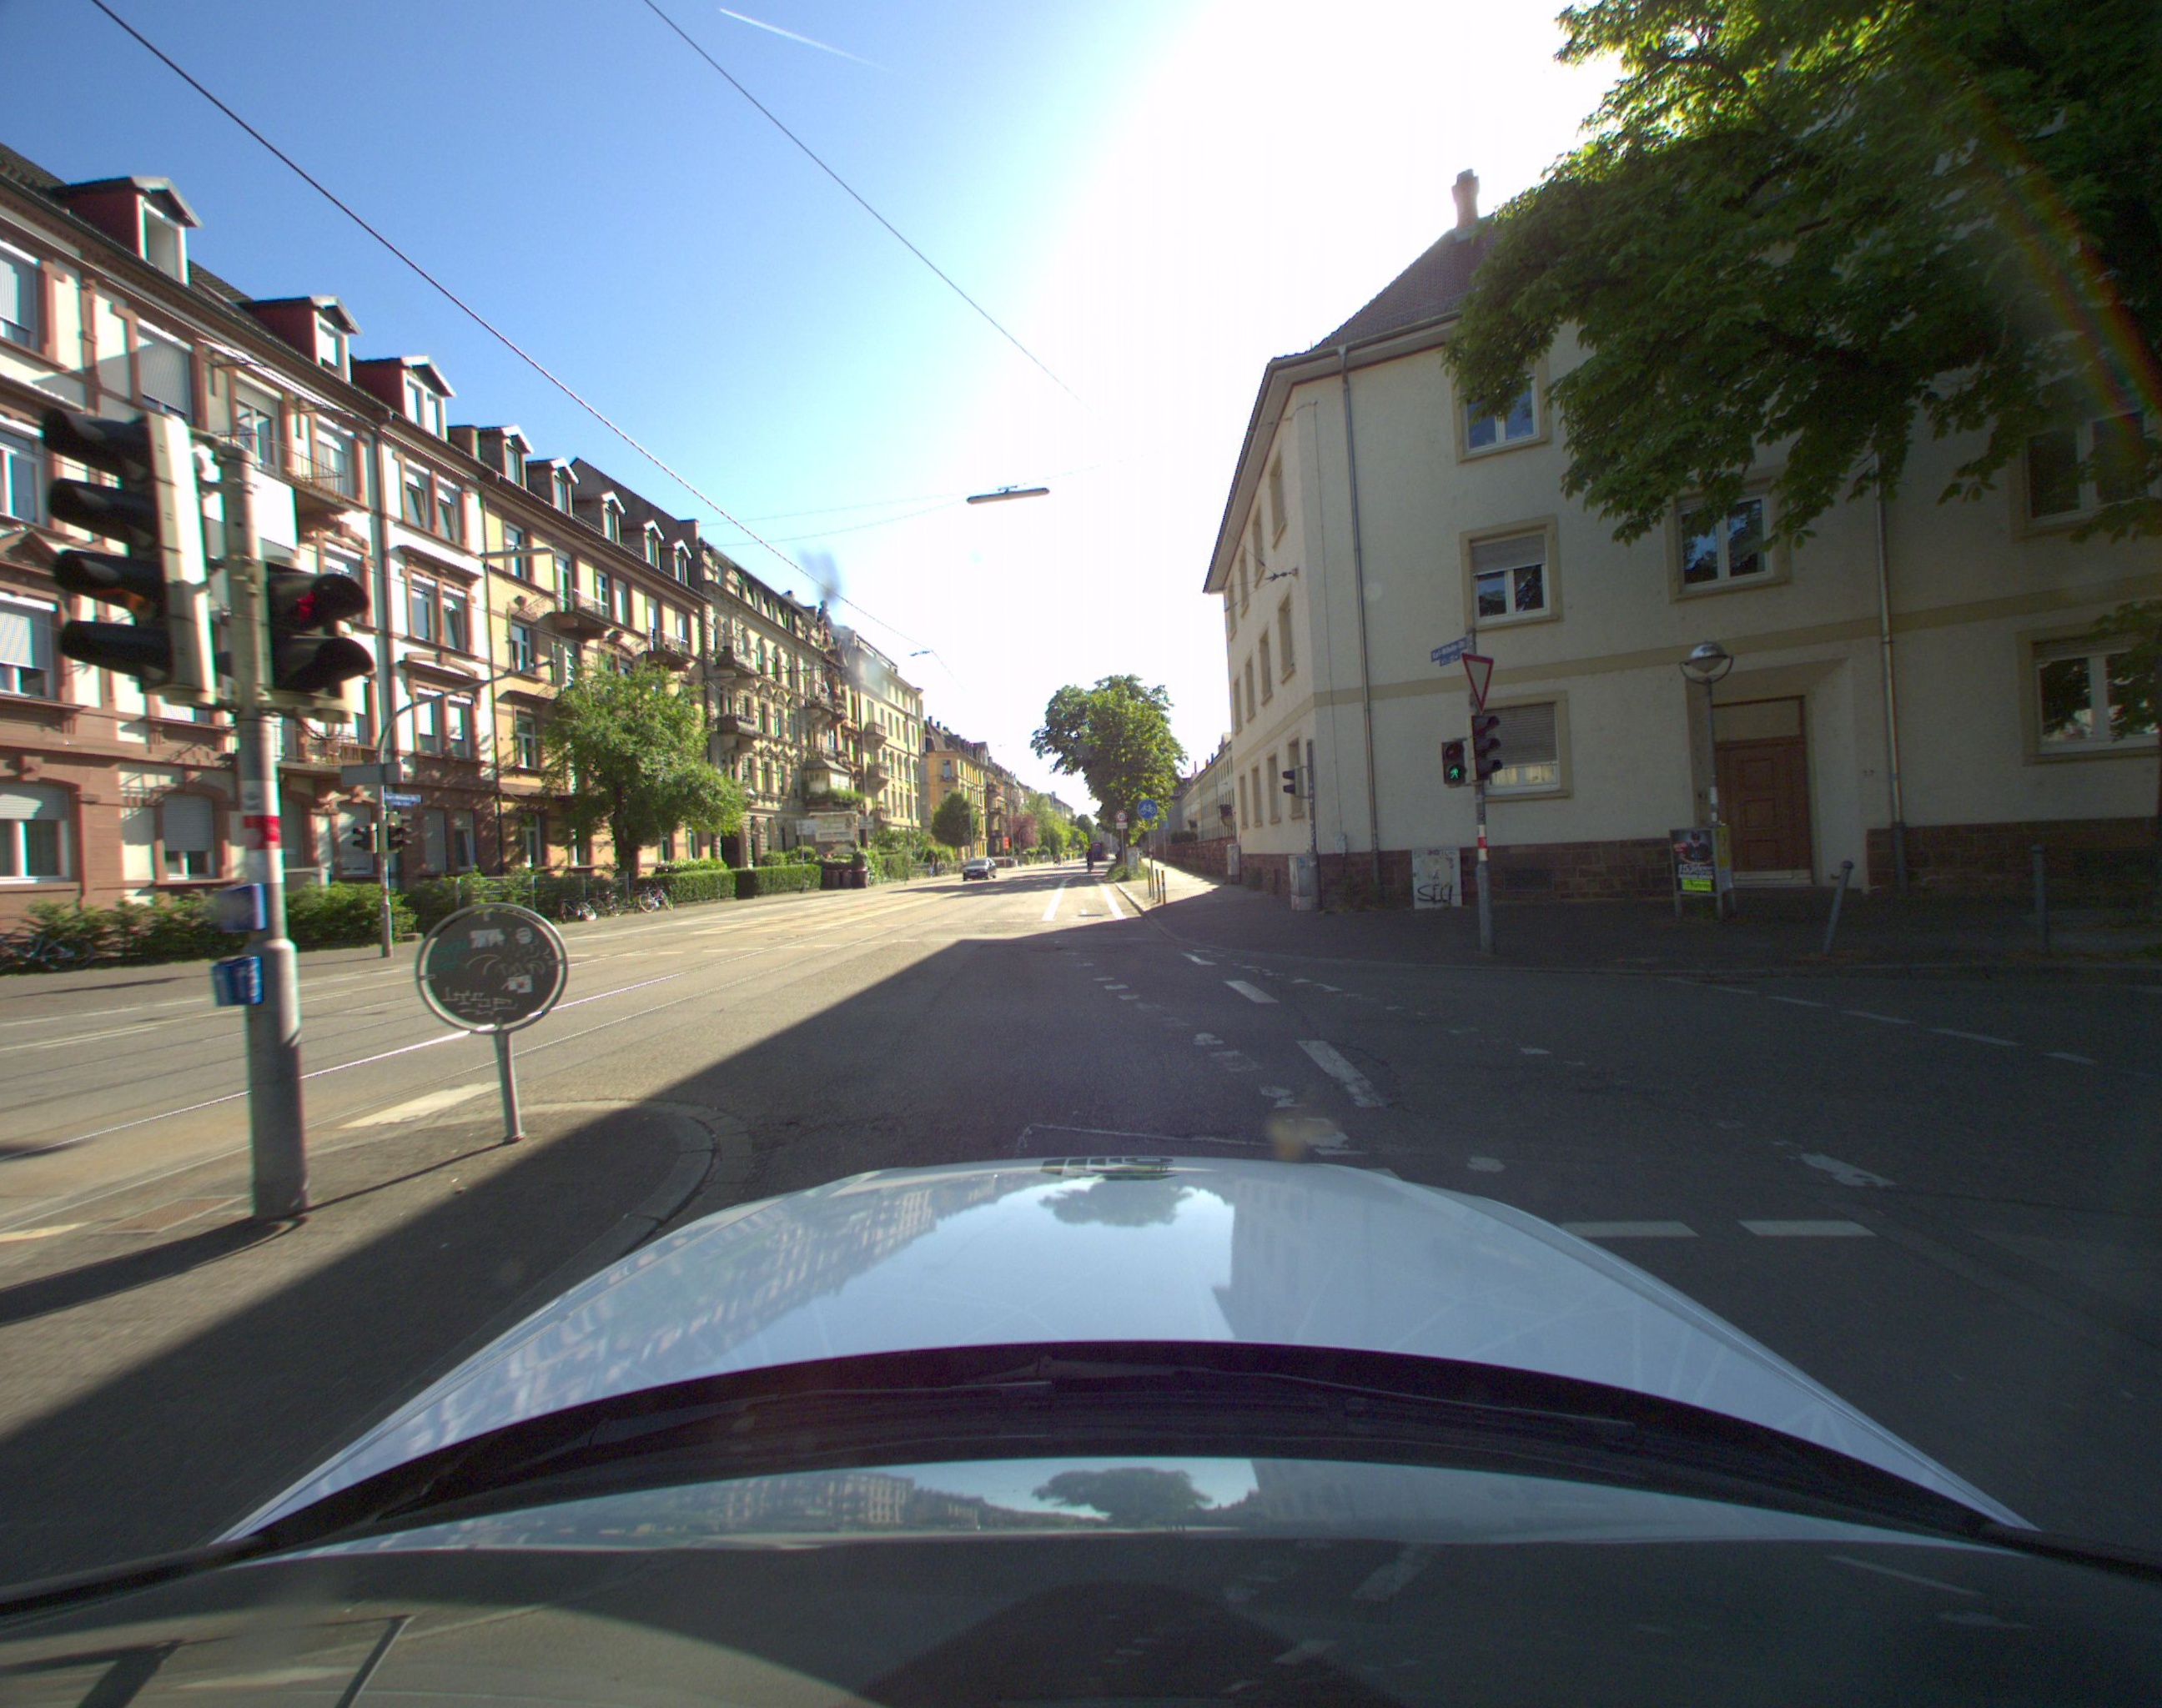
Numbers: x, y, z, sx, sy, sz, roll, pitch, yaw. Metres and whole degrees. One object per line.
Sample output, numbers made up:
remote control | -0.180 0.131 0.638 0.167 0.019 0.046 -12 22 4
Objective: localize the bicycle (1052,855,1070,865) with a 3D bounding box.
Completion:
bicycle | -2.382 0.730 96.079 1.919 1.112 0.689 -2 0 -23

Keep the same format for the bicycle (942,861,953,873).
bicycle | -11.757 1.147 71.779 0.561 1.033 1.769 -2 0 3

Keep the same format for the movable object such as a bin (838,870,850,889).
movable object such as a bin | -13.828 1.484 47.488 0.477 1.086 0.542 -2 0 5

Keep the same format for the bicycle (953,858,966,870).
bicycle | -11.571 0.942 77.454 0.567 1.033 1.749 -2 2 -33

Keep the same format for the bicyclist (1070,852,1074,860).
bicyclist | -2.027 0.498 179.349 0.657 1.801 0.616 -5 -1 3

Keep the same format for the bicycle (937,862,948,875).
bicycle | -11.831 1.203 69.751 0.561 1.033 1.769 -2 0 3

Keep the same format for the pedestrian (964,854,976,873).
pedestrian | -10.350 0.920 75.870 0.826 1.723 1.083 -2 -1 2

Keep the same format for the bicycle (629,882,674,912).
bicycle | -15.513 1.540 29.437 0.340 0.926 1.947 -2 0 8

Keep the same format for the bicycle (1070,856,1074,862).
bicycle | -2.032 1.057 179.278 0.689 1.112 1.720 -4 0 3

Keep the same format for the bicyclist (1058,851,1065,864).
bicyclist | -2.301 0.410 96.159 0.617 1.468 0.632 -2 0 -24

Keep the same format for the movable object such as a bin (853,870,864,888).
movable object such as a bin | -13.174 1.479 48.223 0.477 1.086 0.542 -2 0 5

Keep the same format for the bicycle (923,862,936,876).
bicycle | -12.208 1.200 65.674 0.560 1.033 1.769 -1 1 4

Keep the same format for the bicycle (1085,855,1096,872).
bicycle | 0.660 0.653 56.976 0.689 1.112 1.720 -2 0 3

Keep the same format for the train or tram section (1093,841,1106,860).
train or tram section | 3.352 -0.644 147.344 2.144 3.431 6.617 -2 0 3

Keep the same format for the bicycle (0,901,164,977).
bicycle | -19.962 1.660 16.316 0.415 1.296 2.058 -2 0 45

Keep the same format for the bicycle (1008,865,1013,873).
bicycle | -9.677 2.054 111.861 0.333 1.001 1.871 -2 0 4

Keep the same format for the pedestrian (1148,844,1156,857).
pedestrian | 9.159 -0.457 105.219 0.755 1.724 0.583 -2 0 32

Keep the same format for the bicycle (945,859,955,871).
bicycle | -11.999 1.004 74.630 0.565 1.033 1.755 1 0 -21

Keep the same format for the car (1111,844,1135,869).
car | 3.223 0.167 62.506 1.737 1.766 4.481 -2 0 3

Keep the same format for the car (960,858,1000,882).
car | -6.913 1.049 56.453 1.824 1.518 4.972 -1 0 4

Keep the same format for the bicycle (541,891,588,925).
bicycle | -15.998 1.659 25.269 0.340 0.926 1.455 -2 0 8

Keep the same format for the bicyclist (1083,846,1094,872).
bicyclist | 0.537 0.343 57.301 0.724 1.848 0.837 -2 0 2

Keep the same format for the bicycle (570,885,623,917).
bicycle | -15.997 1.547 26.946 0.340 0.926 1.947 -2 0 8

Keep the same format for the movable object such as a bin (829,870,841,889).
movable object such as a bin | -14.333 1.489 47.494 0.477 1.086 0.542 -2 0 5

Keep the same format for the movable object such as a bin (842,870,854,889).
movable object such as a bin | -13.785 1.498 48.112 0.477 1.086 0.542 -2 0 5
